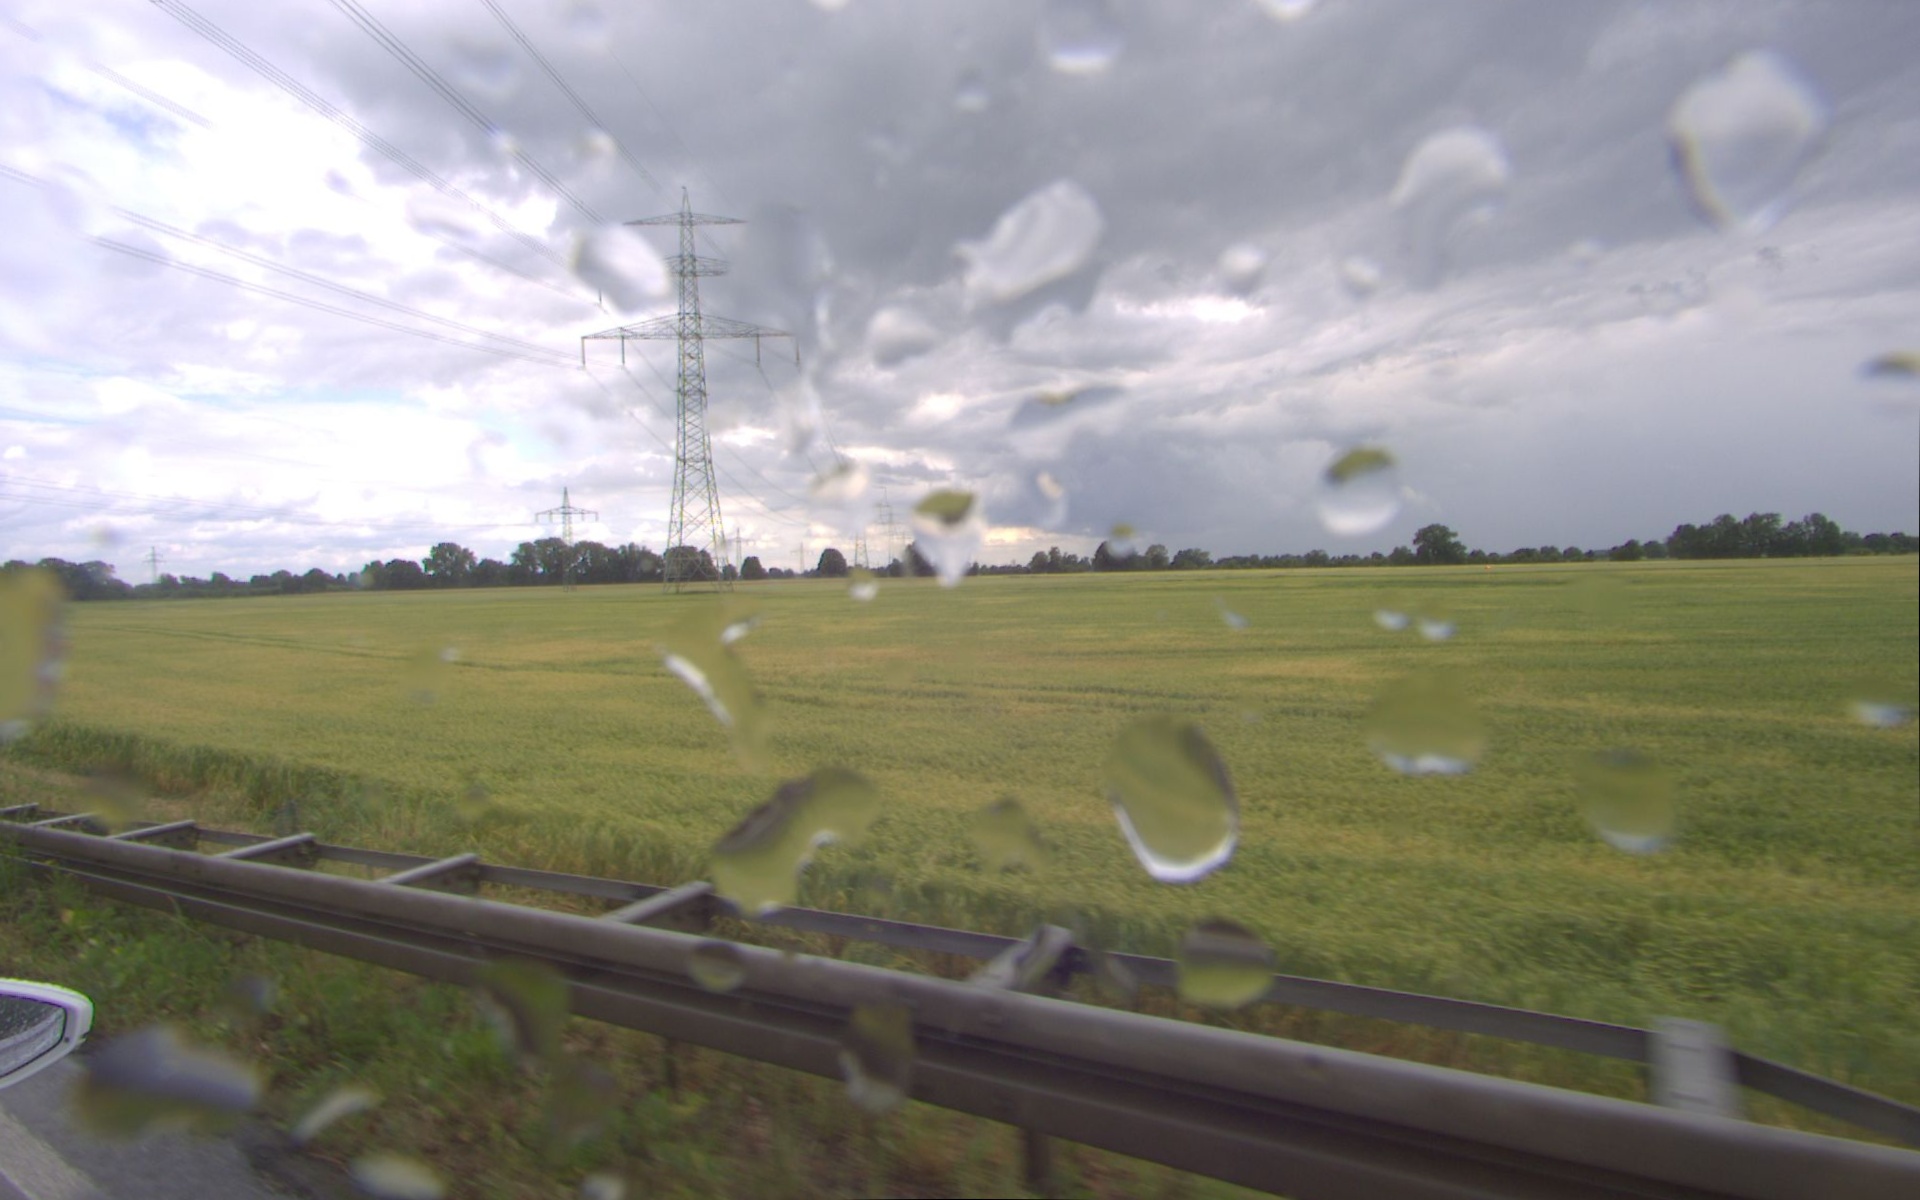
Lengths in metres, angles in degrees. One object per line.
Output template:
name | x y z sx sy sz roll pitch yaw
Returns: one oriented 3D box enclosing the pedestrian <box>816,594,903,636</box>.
pedestrian | -5.032 0.785 50.167 3.939 2.039 1.992 -2 -2 28
